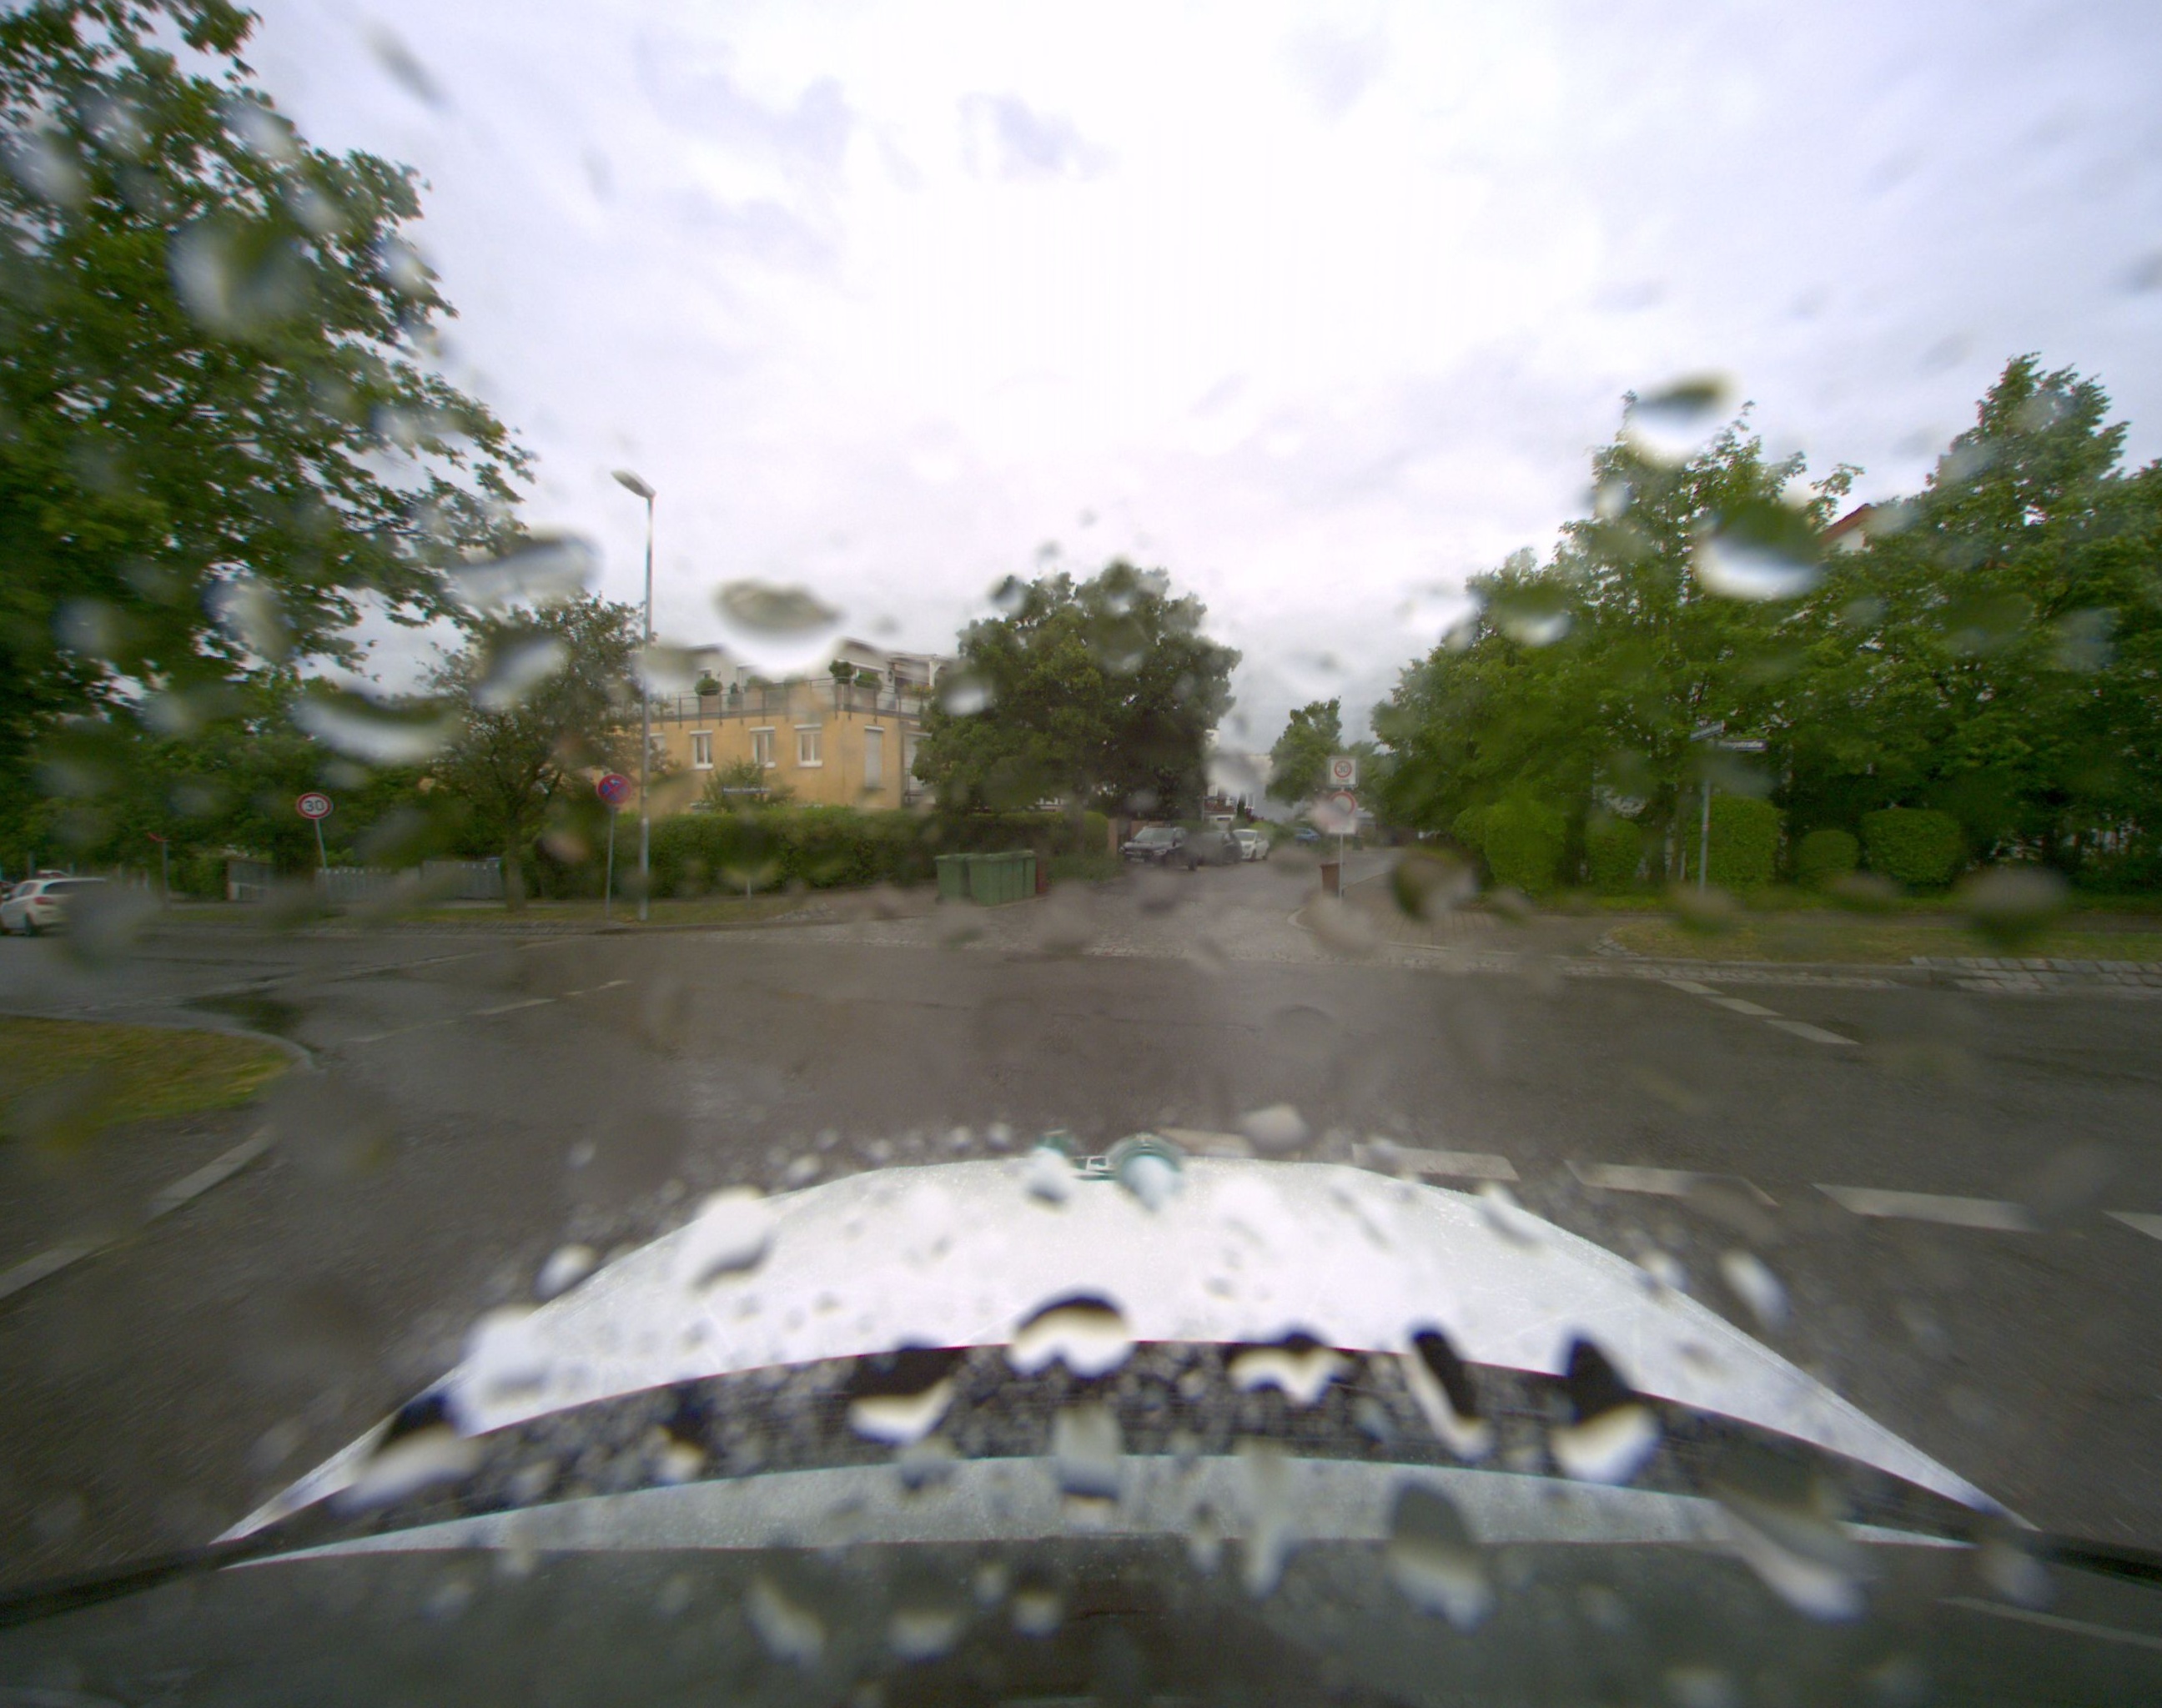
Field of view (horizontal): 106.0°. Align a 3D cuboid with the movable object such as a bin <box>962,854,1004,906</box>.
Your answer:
[{"bbox_3d":[-2.096,0.541,17.504,0.689,1.074,0.605,0,2,18],"label":"movable object such as a bin"}]

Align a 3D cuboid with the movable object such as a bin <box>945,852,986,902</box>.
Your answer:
[{"bbox_3d":[-2.595,0.508,18.297,0.689,1.072,0.600,0,2,18],"label":"movable object such as a bin"}]

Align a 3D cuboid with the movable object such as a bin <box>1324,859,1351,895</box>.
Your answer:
[{"bbox_3d":[6.816,0.606,21.646,0.565,0.931,0.533,1,2,31],"label":"movable object such as a bin"}]

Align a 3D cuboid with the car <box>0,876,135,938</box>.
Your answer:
[{"bbox_3d":[-27.578,1.407,22.050,3.679,1.502,1.620,-2,0,26],"label":"car"}]

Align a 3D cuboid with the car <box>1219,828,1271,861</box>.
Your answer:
[{"bbox_3d":[7.845,-0.477,38.823,1.497,1.476,3.294,3,3,28],"label":"car"}]

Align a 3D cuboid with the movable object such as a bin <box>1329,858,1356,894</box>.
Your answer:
[{"bbox_3d":[7.115,0.593,22.148,0.565,0.931,0.533,1,2,31],"label":"movable object such as a bin"}]

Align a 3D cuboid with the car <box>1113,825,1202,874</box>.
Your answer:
[{"bbox_3d":[2.803,-0.217,29.011,1.759,1.518,4.162,3,3,25],"label":"car"}]

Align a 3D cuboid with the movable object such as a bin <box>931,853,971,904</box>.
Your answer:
[{"bbox_3d":[-2.827,0.526,17.721,0.660,1.073,0.546,0,2,18],"label":"movable object such as a bin"}]

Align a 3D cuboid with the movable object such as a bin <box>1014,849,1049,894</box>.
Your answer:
[{"bbox_3d":[-1.211,0.417,19.991,0.689,1.054,0.608,0,2,18],"label":"movable object such as a bin"}]

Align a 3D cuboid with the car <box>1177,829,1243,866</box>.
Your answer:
[{"bbox_3d":[5.512,-0.319,34.457,1.620,1.408,3.627,3,3,27],"label":"car"}]

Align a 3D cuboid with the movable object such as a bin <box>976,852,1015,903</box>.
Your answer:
[{"bbox_3d":[-1.896,0.511,18.079,0.689,1.074,0.546,0,2,18],"label":"movable object such as a bin"}]

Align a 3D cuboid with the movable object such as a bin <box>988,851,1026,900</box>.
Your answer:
[{"bbox_3d":[-1.692,0.480,18.630,0.689,1.067,0.582,0,2,18],"label":"movable object such as a bin"}]

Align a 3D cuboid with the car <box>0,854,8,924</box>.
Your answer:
[{"bbox_3d":[-40.975,1.325,29.322,5.439,2.467,2.138,-2,0,30],"label":"car"}]

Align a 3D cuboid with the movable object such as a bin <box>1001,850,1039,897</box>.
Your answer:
[{"bbox_3d":[-1.438,0.451,19.206,0.689,1.054,0.608,0,2,18],"label":"movable object such as a bin"}]

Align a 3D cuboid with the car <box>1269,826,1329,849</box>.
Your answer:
[{"bbox_3d":[15.950,-1.200,59.557,3.953,1.568,1.919,2,2,22],"label":"car"}]
